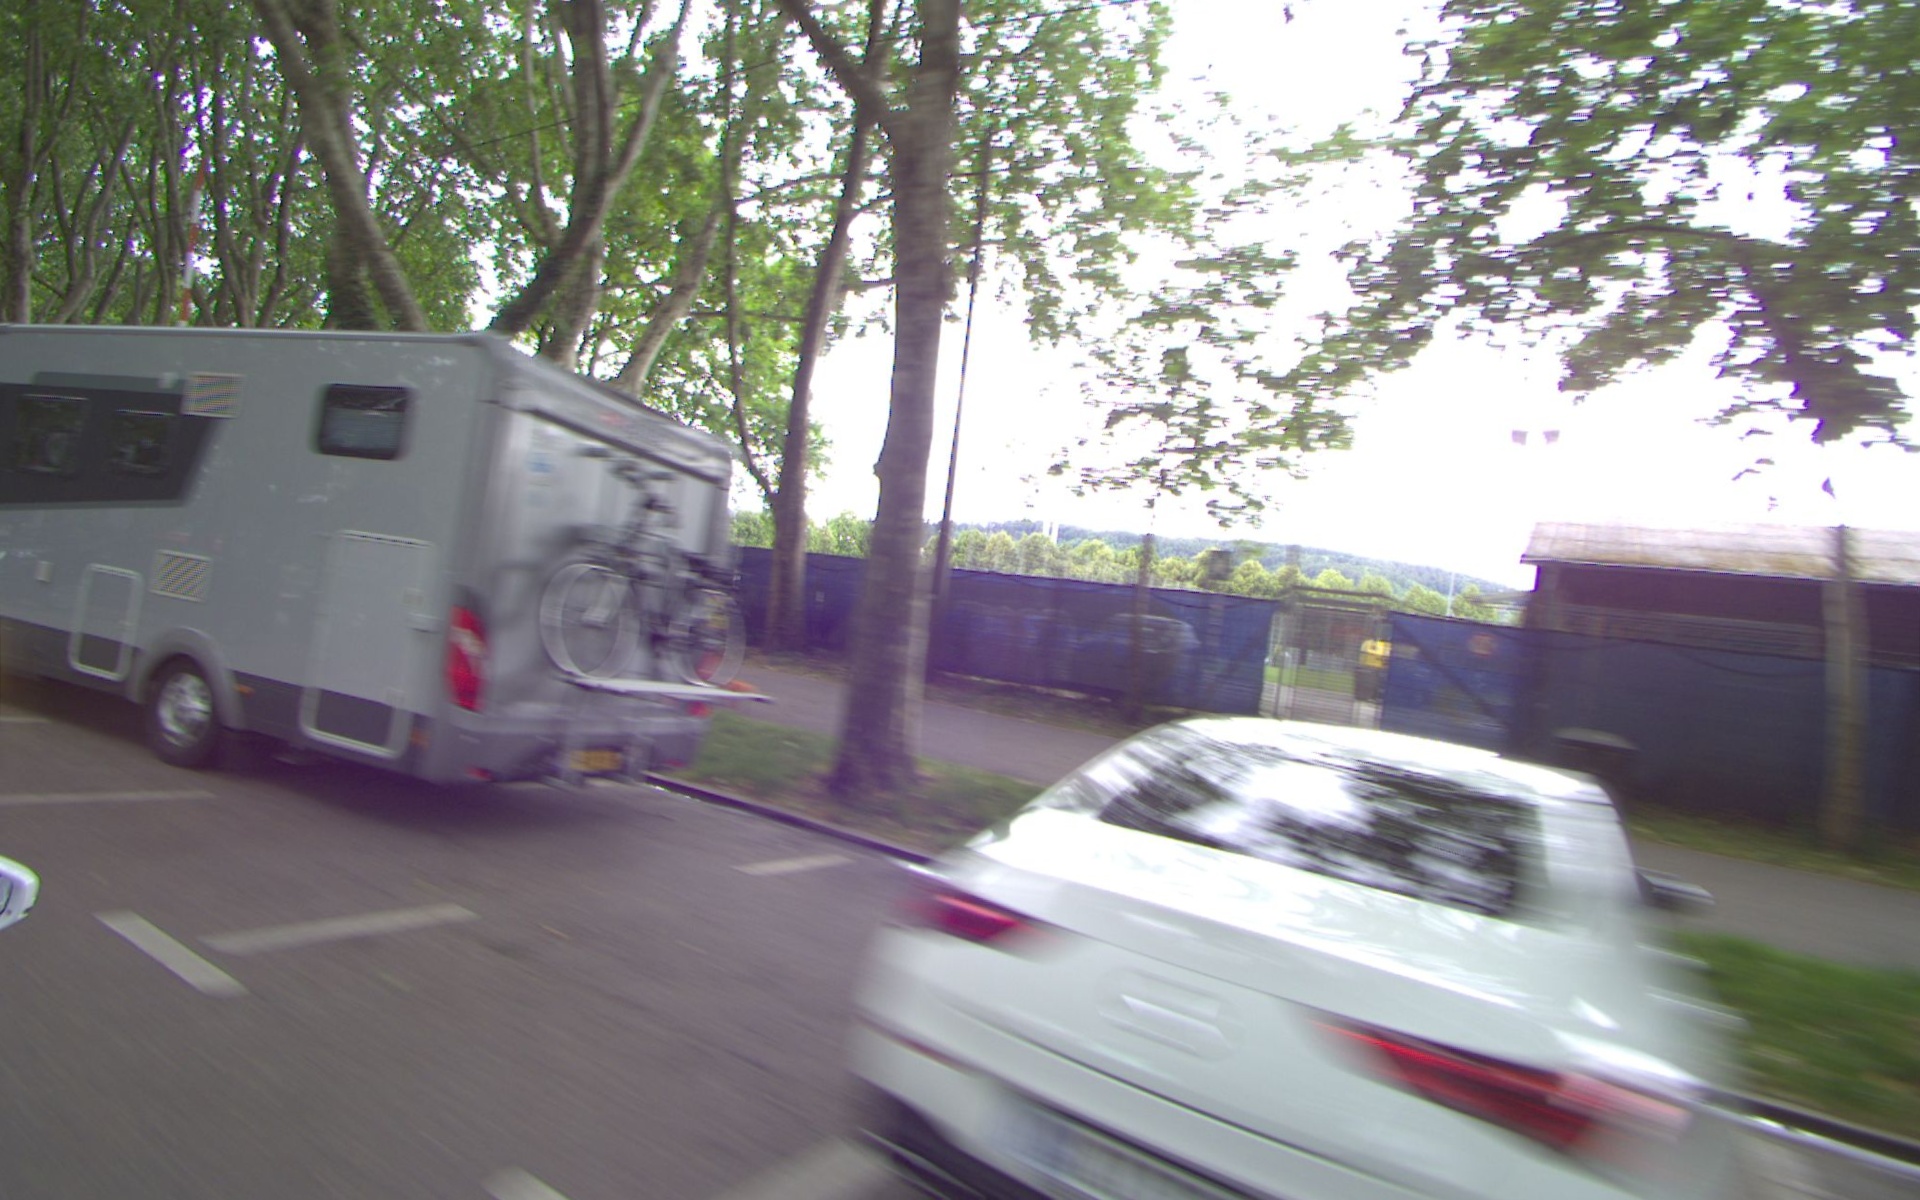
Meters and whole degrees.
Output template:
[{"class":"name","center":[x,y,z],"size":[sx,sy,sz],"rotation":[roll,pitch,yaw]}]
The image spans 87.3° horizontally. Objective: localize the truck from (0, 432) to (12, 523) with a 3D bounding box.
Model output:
[{"class":"truck","center":[-23.641,-2.719,20.111],"size":[2.062,2.746,6.307],"rotation":[7,-2,31]}]

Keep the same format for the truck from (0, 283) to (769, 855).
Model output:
[{"class":"truck","center":[-5.451,-0.494,7.769],"size":[7.401,2.972,2.467],"rotation":[7,-1,23]}]

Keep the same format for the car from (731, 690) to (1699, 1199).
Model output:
[{"class":"car","center":[1.362,1.157,3.692],"size":[1.672,1.317,4.328],"rotation":[7,-2,32]}]
